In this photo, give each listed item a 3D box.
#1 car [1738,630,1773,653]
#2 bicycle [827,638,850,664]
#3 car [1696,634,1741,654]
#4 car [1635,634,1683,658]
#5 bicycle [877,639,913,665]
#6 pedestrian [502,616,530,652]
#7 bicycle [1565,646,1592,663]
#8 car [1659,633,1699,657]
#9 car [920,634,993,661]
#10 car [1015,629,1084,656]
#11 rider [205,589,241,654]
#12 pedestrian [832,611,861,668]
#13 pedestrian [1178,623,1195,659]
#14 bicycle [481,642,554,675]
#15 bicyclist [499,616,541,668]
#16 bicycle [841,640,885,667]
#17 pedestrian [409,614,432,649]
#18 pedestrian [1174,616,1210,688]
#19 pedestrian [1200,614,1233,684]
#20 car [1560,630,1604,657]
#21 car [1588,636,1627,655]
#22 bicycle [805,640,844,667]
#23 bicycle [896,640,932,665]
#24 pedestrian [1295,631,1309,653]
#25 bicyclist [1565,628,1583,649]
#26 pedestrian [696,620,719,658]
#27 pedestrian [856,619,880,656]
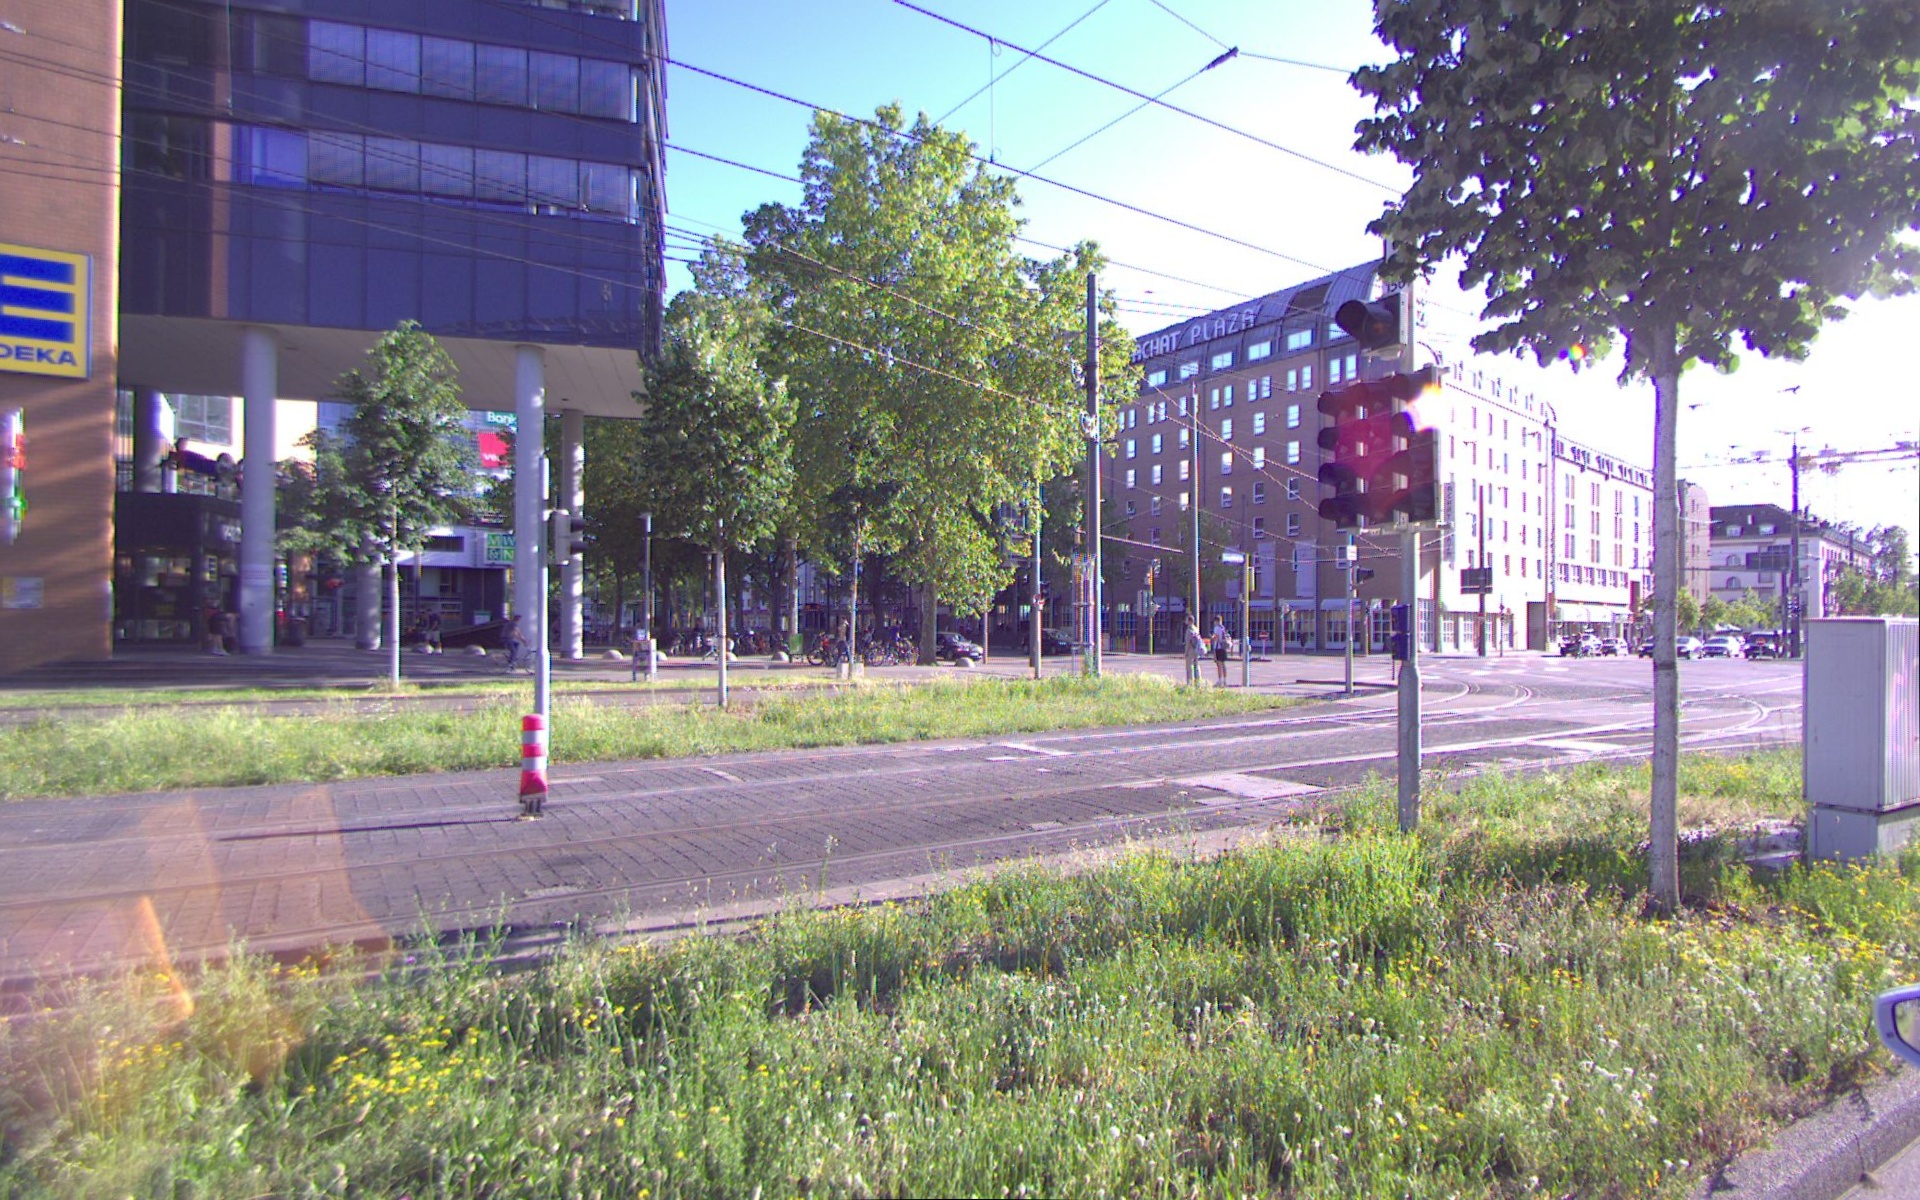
[{"bbox_3d":[54.848,2.819,69.235,1.725,1.524,3.860,-1,-2,42],"label":"car"},{"bbox_3d":[-4.846,2.018,40.015,0.530,0.964,1.772,0,-1,6],"label":"bicycle"},{"bbox_3d":[55.800,3.212,73.903,3.961,1.468,1.562,1,-1,-36],"label":"car"},{"bbox_3d":[49.966,3.280,71.744,4.707,1.617,1.974,2,-2,-44],"label":"car"},{"bbox_3d":[-2.544,2.046,39.416,0.536,0.964,1.753,1,-1,-37],"label":"bicycle"},{"bbox_3d":[-21.677,1.657,49.033,1.091,1.730,0.789,1,0,-14],"label":"pedestrian"},{"bbox_3d":[41.364,3.648,67.178,2.902,1.099,0.644,1,-1,-39],"label":"bicycle"},{"bbox_3d":[46.601,2.899,65.101,1.725,1.524,3.860,-1,-2,42],"label":"car"},{"bbox_3d":[-0.222,2.370,50.925,1.978,1.283,3.966,1,-2,-31],"label":"car"},{"bbox_3d":[5.020,2.398,56.826,1.743,1.439,3.959,1,-2,-36],"label":"car"},{"bbox_3d":[-20.922,0.619,28.517,0.704,1.826,0.714,1,-1,-30],"label":"rider"},{"bbox_3d":[-4.168,1.441,36.941,0.827,2.040,0.730,1,0,-26],"label":"pedestrian"},{"bbox_3d":[12.954,2.315,57.487,0.670,2.040,0.663,1,-1,-30],"label":"pedestrian"},{"bbox_3d":[-12.839,1.676,29.154,1.868,0.923,0.495,1,-1,-34],"label":"bicycle"},{"bbox_3d":[-12.784,1.216,29.173,1.006,1.484,0.674,1,-1,-34],"label":"bicyclist"},{"bbox_3d":[-3.723,2.036,38.423,1.741,0.964,0.540,0,-1,33],"label":"bicycle"},{"bbox_3d":[-27.005,1.559,50.318,0.794,1.730,0.789,1,0,-14],"label":"pedestrian"},{"bbox_3d":[6.048,1.346,26.179,0.657,1.854,0.627,1,-1,-37],"label":"pedestrian"},{"bbox_3d":[6.865,1.295,26.868,0.657,1.841,0.559,1,-1,-37],"label":"pedestrian"},{"bbox_3d":[47.410,3.291,76.582,3.973,2.040,1.974,2,-2,-44],"label":"car"},{"bbox_3d":[52.463,3.662,81.370,3.973,1.530,1.866,2,-2,-44],"label":"car"},{"bbox_3d":[-5.225,2.038,38.633,1.747,0.964,0.538,-1,-2,45],"label":"bicycle"},{"bbox_3d":[-1.824,2.064,39.754,0.536,0.964,1.753,1,-1,-37],"label":"bicycle"},{"bbox_3d":[23.761,2.944,69.854,0.652,1.523,0.671,1,-1,-34],"label":"pedestrian"},{"bbox_3d":[40.790,2.530,66.746,0.942,1.393,0.751,1,-1,-38],"label":"bicyclist"},{"bbox_3d":[-11.011,1.702,43.818,0.827,1.667,0.730,1,-1,-26],"label":"pedestrian"},{"bbox_3d":[-4.138,1.664,45.031,0.827,1.619,0.730,1,0,-26],"label":"pedestrian"}]
